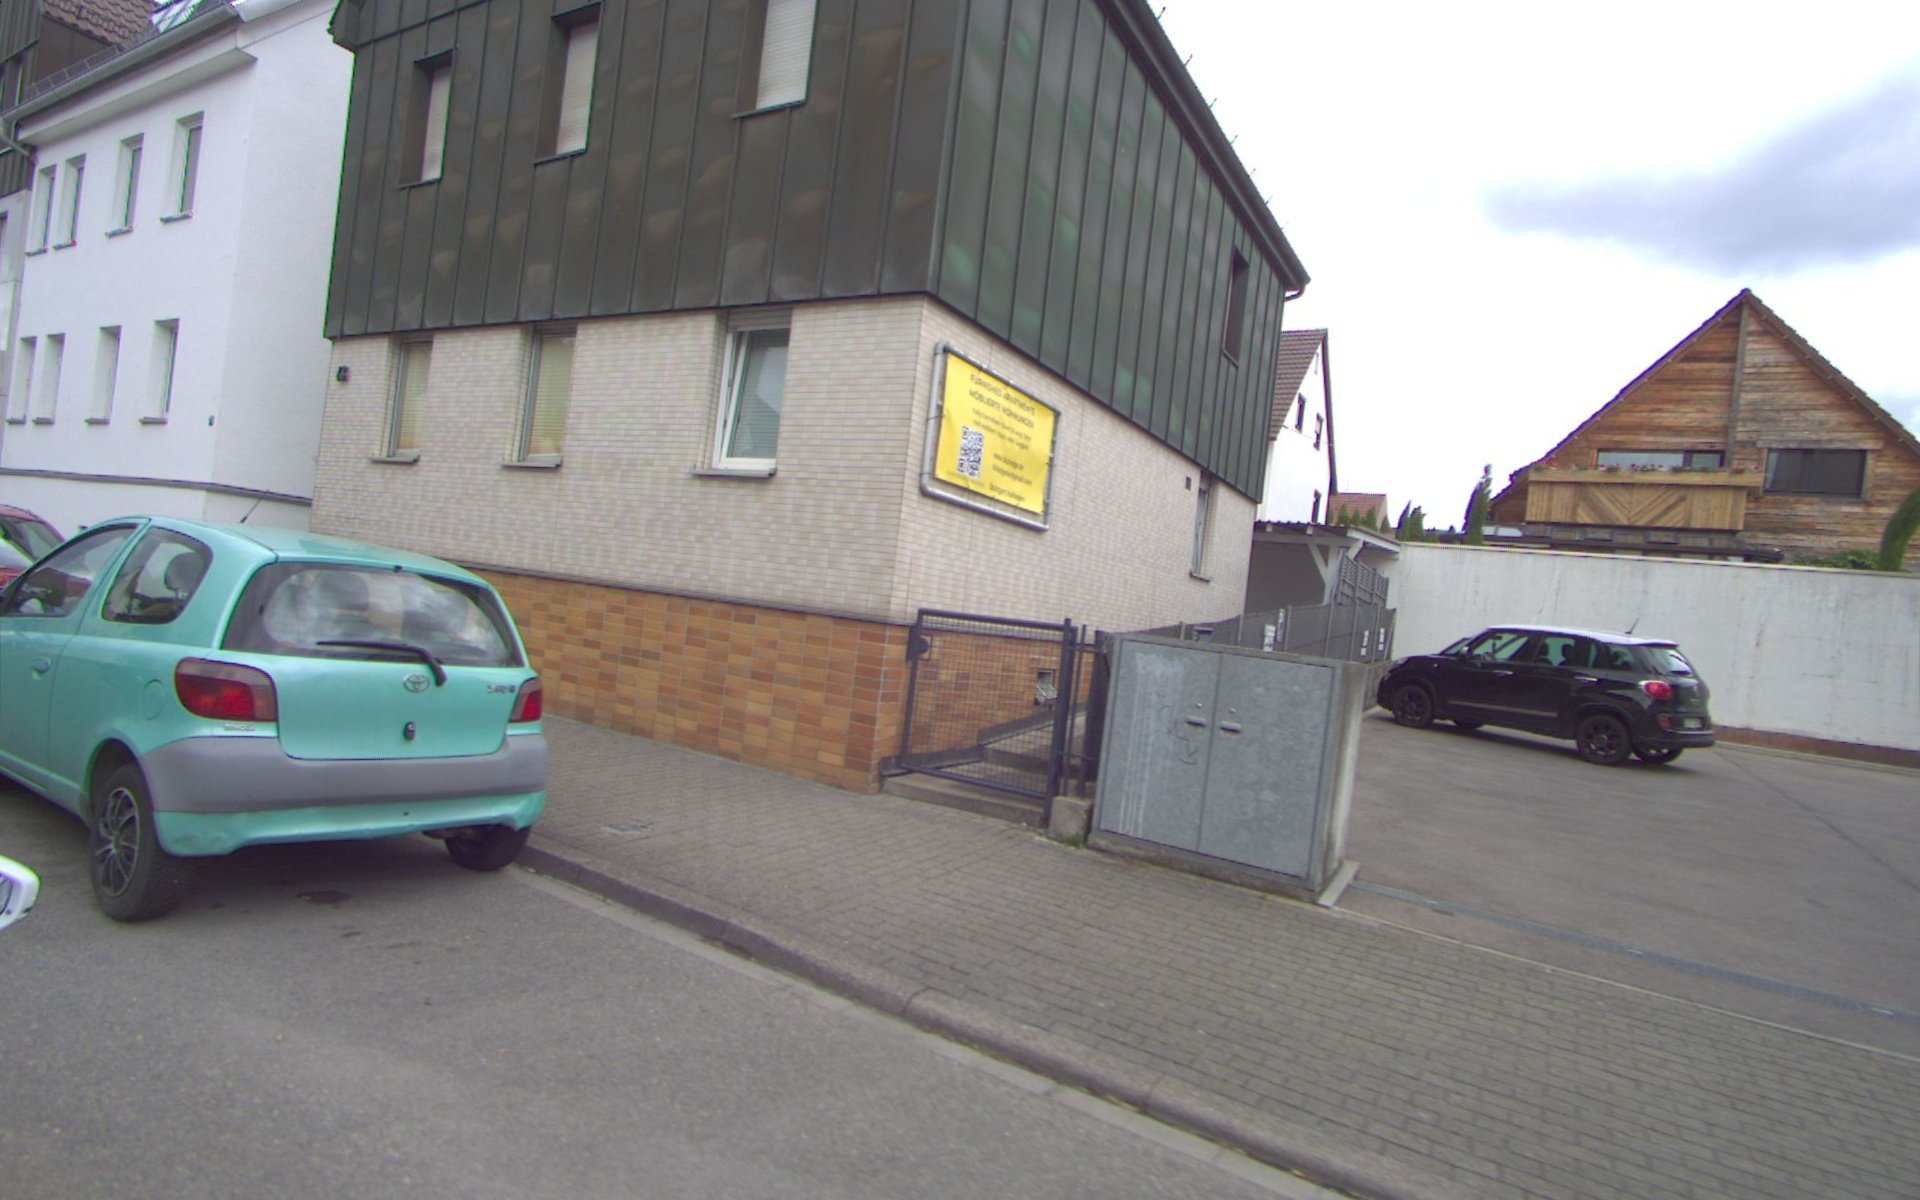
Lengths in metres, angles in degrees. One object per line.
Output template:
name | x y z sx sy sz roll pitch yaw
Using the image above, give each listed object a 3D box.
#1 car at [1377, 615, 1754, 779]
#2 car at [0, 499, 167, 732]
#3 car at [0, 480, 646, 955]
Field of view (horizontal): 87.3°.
car | 8.185 1.232 13.981 1.905 1.676 3.967 4 1 -31
car | -7.911 -0.108 7.434 4.381 1.462 1.758 6 -2 32
car | -3.744 0.326 5.161 3.928 1.515 1.834 6 -2 32
